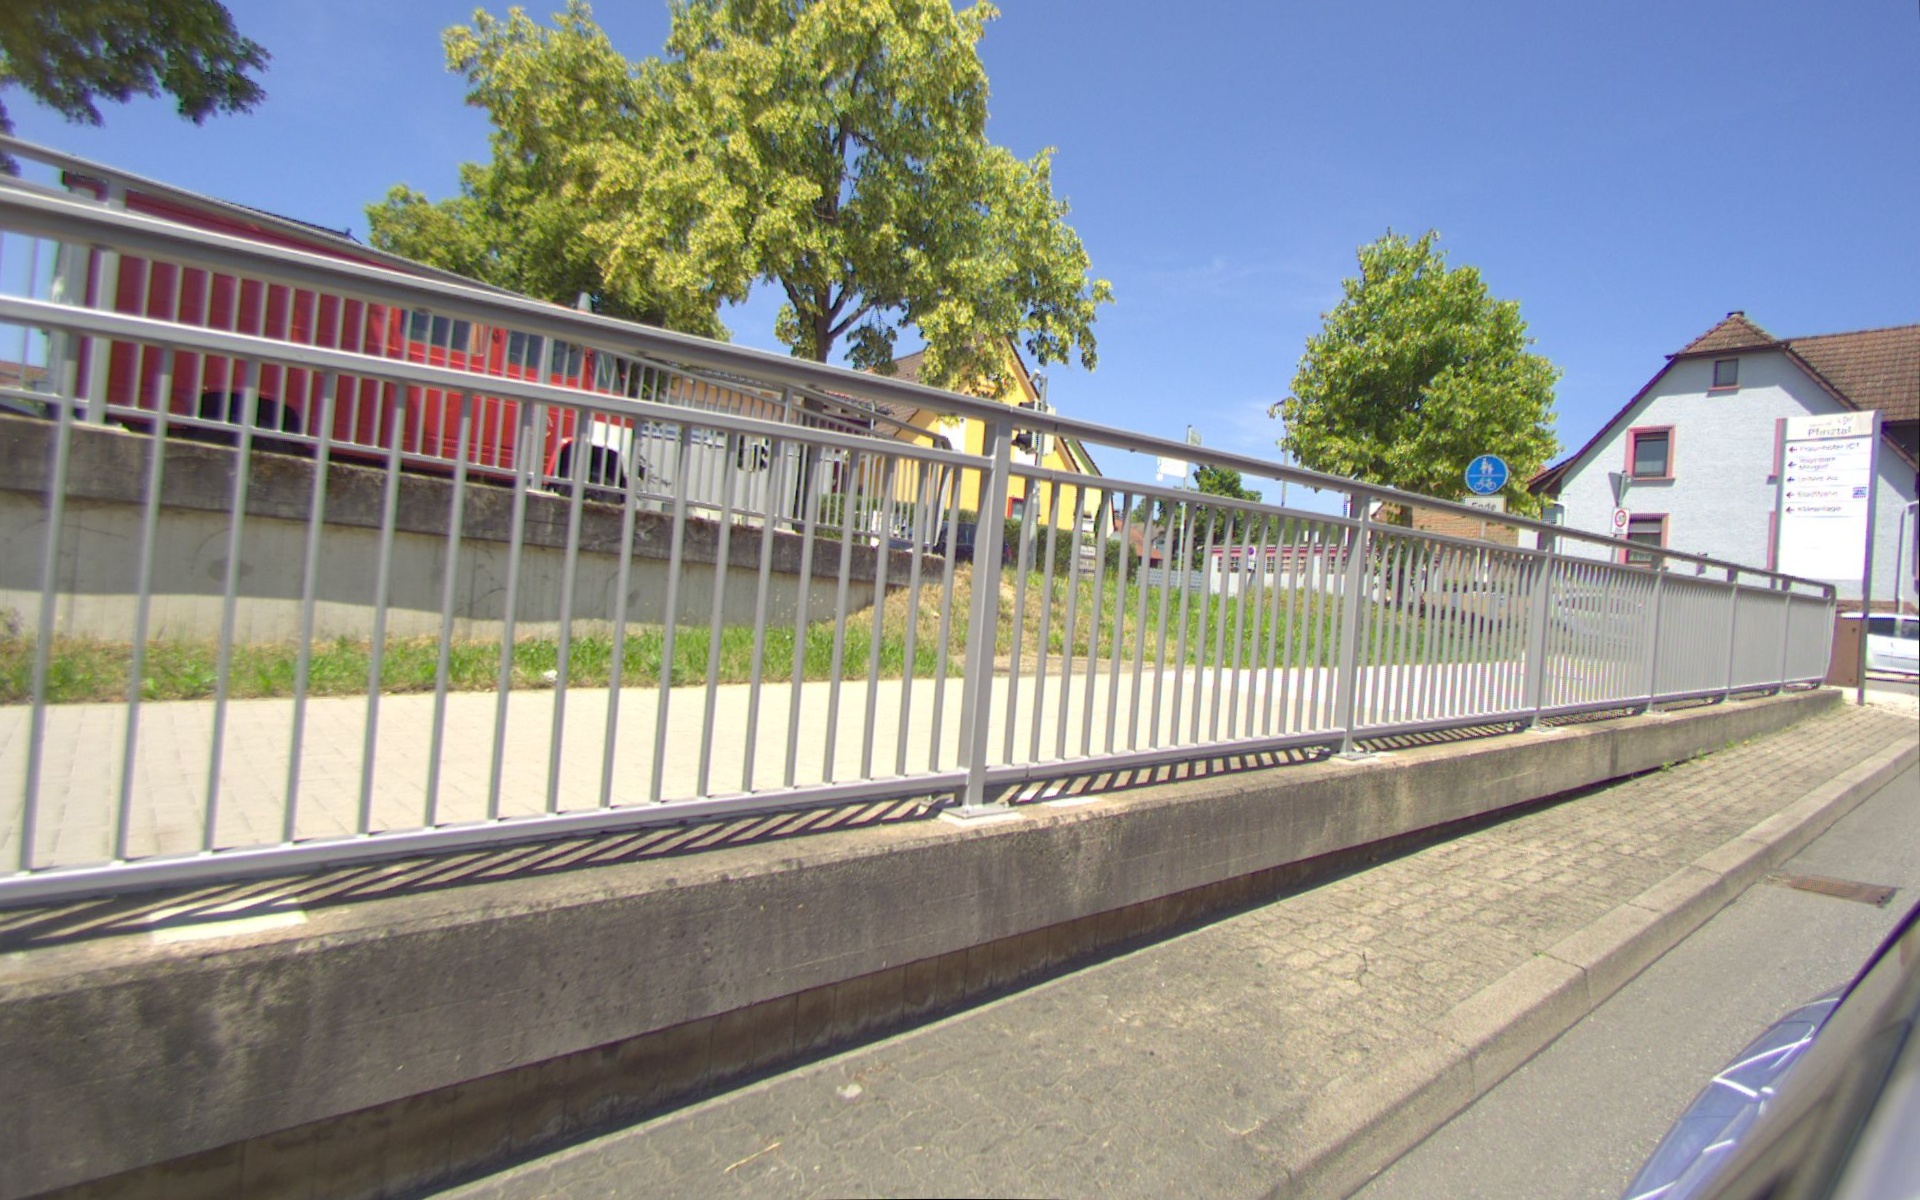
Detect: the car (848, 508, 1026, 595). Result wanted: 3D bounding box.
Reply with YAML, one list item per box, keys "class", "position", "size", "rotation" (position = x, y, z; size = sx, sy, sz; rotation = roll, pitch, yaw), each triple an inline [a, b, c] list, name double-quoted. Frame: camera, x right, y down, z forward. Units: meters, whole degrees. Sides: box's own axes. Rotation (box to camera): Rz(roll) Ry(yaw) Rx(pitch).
- class: "car"
  position: [-0.446, -1.067, 23.587]
  size: [1.861, 1.609, 4.095]
  rotation: [2, -2, 40]

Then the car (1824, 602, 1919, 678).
- class: "car"
  position: [20.998, 0.926, 21.662]
  size: [3.672, 1.497, 1.747]
  rotation: [5, 2, 44]

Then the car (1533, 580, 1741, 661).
- class: "car"
  position: [16.827, 0.461, 25.411]
  size: [4.097, 1.554, 1.756]
  rotation: [6, 2, 32]

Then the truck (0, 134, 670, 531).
- class: "truck"
  position: [-5.796, -2.131, 9.916]
  size: [5.166, 2.364, 2.136]
  rotation: [4, -1, -41]
